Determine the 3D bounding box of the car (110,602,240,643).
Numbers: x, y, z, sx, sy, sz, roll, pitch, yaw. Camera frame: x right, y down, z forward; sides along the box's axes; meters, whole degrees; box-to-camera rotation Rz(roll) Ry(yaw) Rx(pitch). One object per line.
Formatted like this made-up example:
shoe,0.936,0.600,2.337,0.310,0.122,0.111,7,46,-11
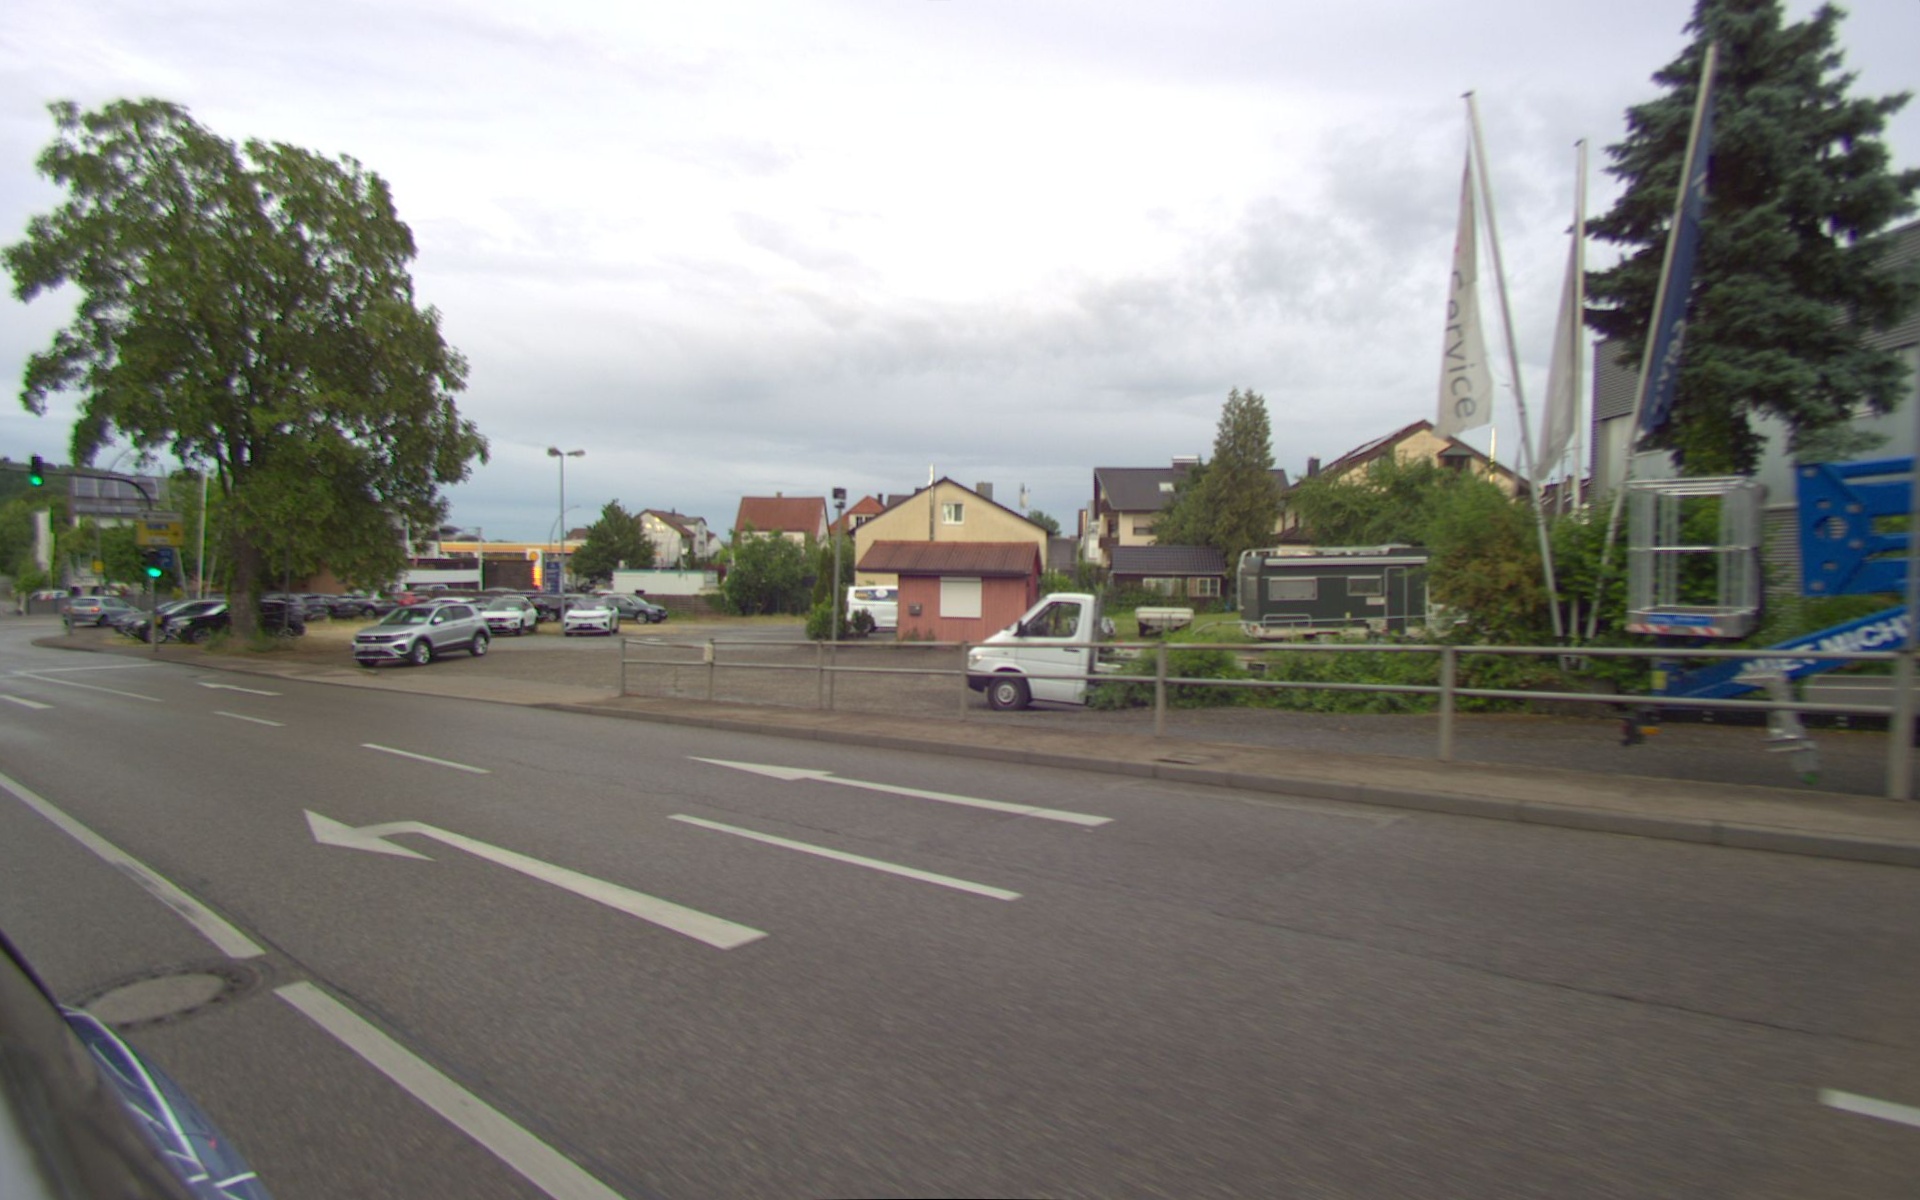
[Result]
car,-31.588,0.867,40.869,4.092,1.521,1.676,0,1,-36

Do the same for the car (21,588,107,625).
car,-57.497,0.392,64.988,4.334,2.120,1.766,3,1,8

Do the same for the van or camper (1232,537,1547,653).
van or camper,12.308,-0.194,29.495,8.012,2.916,2.475,-2,4,4

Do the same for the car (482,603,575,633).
car,-21.625,0.885,50.794,3.994,1.463,1.787,0,0,7

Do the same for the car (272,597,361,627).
car,-34.018,0.613,53.567,3.719,1.562,1.594,0,0,-2

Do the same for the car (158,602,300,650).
car,-26.019,0.892,36.123,1.671,1.579,3.844,0,0,41

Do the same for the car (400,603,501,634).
car,-24.192,0.867,48.110,3.994,1.463,1.787,0,0,7

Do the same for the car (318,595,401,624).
car,-33.650,0.511,56.743,3.719,1.562,1.594,0,0,-2

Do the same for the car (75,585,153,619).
car,-58.574,0.125,70.125,4.173,2.120,1.767,3,1,7

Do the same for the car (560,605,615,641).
car,-15.994,0.949,43.633,1.799,1.426,4.021,0,0,-14

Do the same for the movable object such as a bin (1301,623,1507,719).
movable object such as a bin,10.076,1.590,23.162,3.946,2.029,1.662,1,0,2

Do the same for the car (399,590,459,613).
car,-44.709,0.121,85.353,2.029,1.878,4.911,0,-1,7

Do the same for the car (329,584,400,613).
car,-46.137,-0.091,78.575,2.029,2.102,5.244,0,-1,7

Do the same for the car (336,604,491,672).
car,-14.947,0.982,27.954,1.701,1.582,3.999,-1,2,8

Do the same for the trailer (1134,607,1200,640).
trailer,7.107,0.769,35.039,2.078,1.036,4.856,0,0,10

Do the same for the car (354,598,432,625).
car,-33.460,0.647,59.758,3.719,1.562,1.594,0,0,-2

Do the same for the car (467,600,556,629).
car,-23.837,0.772,53.821,3.994,1.463,1.787,0,0,7

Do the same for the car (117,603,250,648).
car,-28.682,0.906,37.445,1.673,1.579,3.715,0,0,44

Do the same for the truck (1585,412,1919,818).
truck,8.445,0.017,5.873,7.895,2.653,1.971,-3,-2,45

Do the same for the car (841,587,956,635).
car,-2.608,0.481,43.977,4.808,2.002,1.959,0,0,3

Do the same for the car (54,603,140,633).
car,-42.324,0.882,49.737,1.623,1.391,3.711,0,-1,-11

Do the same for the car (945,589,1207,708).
car,2.021,0.791,17.493,4.237,1.885,2.056,-1,0,12

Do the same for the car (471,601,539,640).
car,-19.300,0.835,43.095,1.761,1.521,4.053,0,0,-11

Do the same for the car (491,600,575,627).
car,-23.877,0.750,56.616,3.994,1.463,1.787,0,0,7

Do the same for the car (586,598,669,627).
car,-18.239,0.684,55.544,4.000,1.566,1.785,0,0,11

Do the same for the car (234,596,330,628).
car,-34.029,0.598,50.840,3.719,1.562,1.594,0,0,-2
